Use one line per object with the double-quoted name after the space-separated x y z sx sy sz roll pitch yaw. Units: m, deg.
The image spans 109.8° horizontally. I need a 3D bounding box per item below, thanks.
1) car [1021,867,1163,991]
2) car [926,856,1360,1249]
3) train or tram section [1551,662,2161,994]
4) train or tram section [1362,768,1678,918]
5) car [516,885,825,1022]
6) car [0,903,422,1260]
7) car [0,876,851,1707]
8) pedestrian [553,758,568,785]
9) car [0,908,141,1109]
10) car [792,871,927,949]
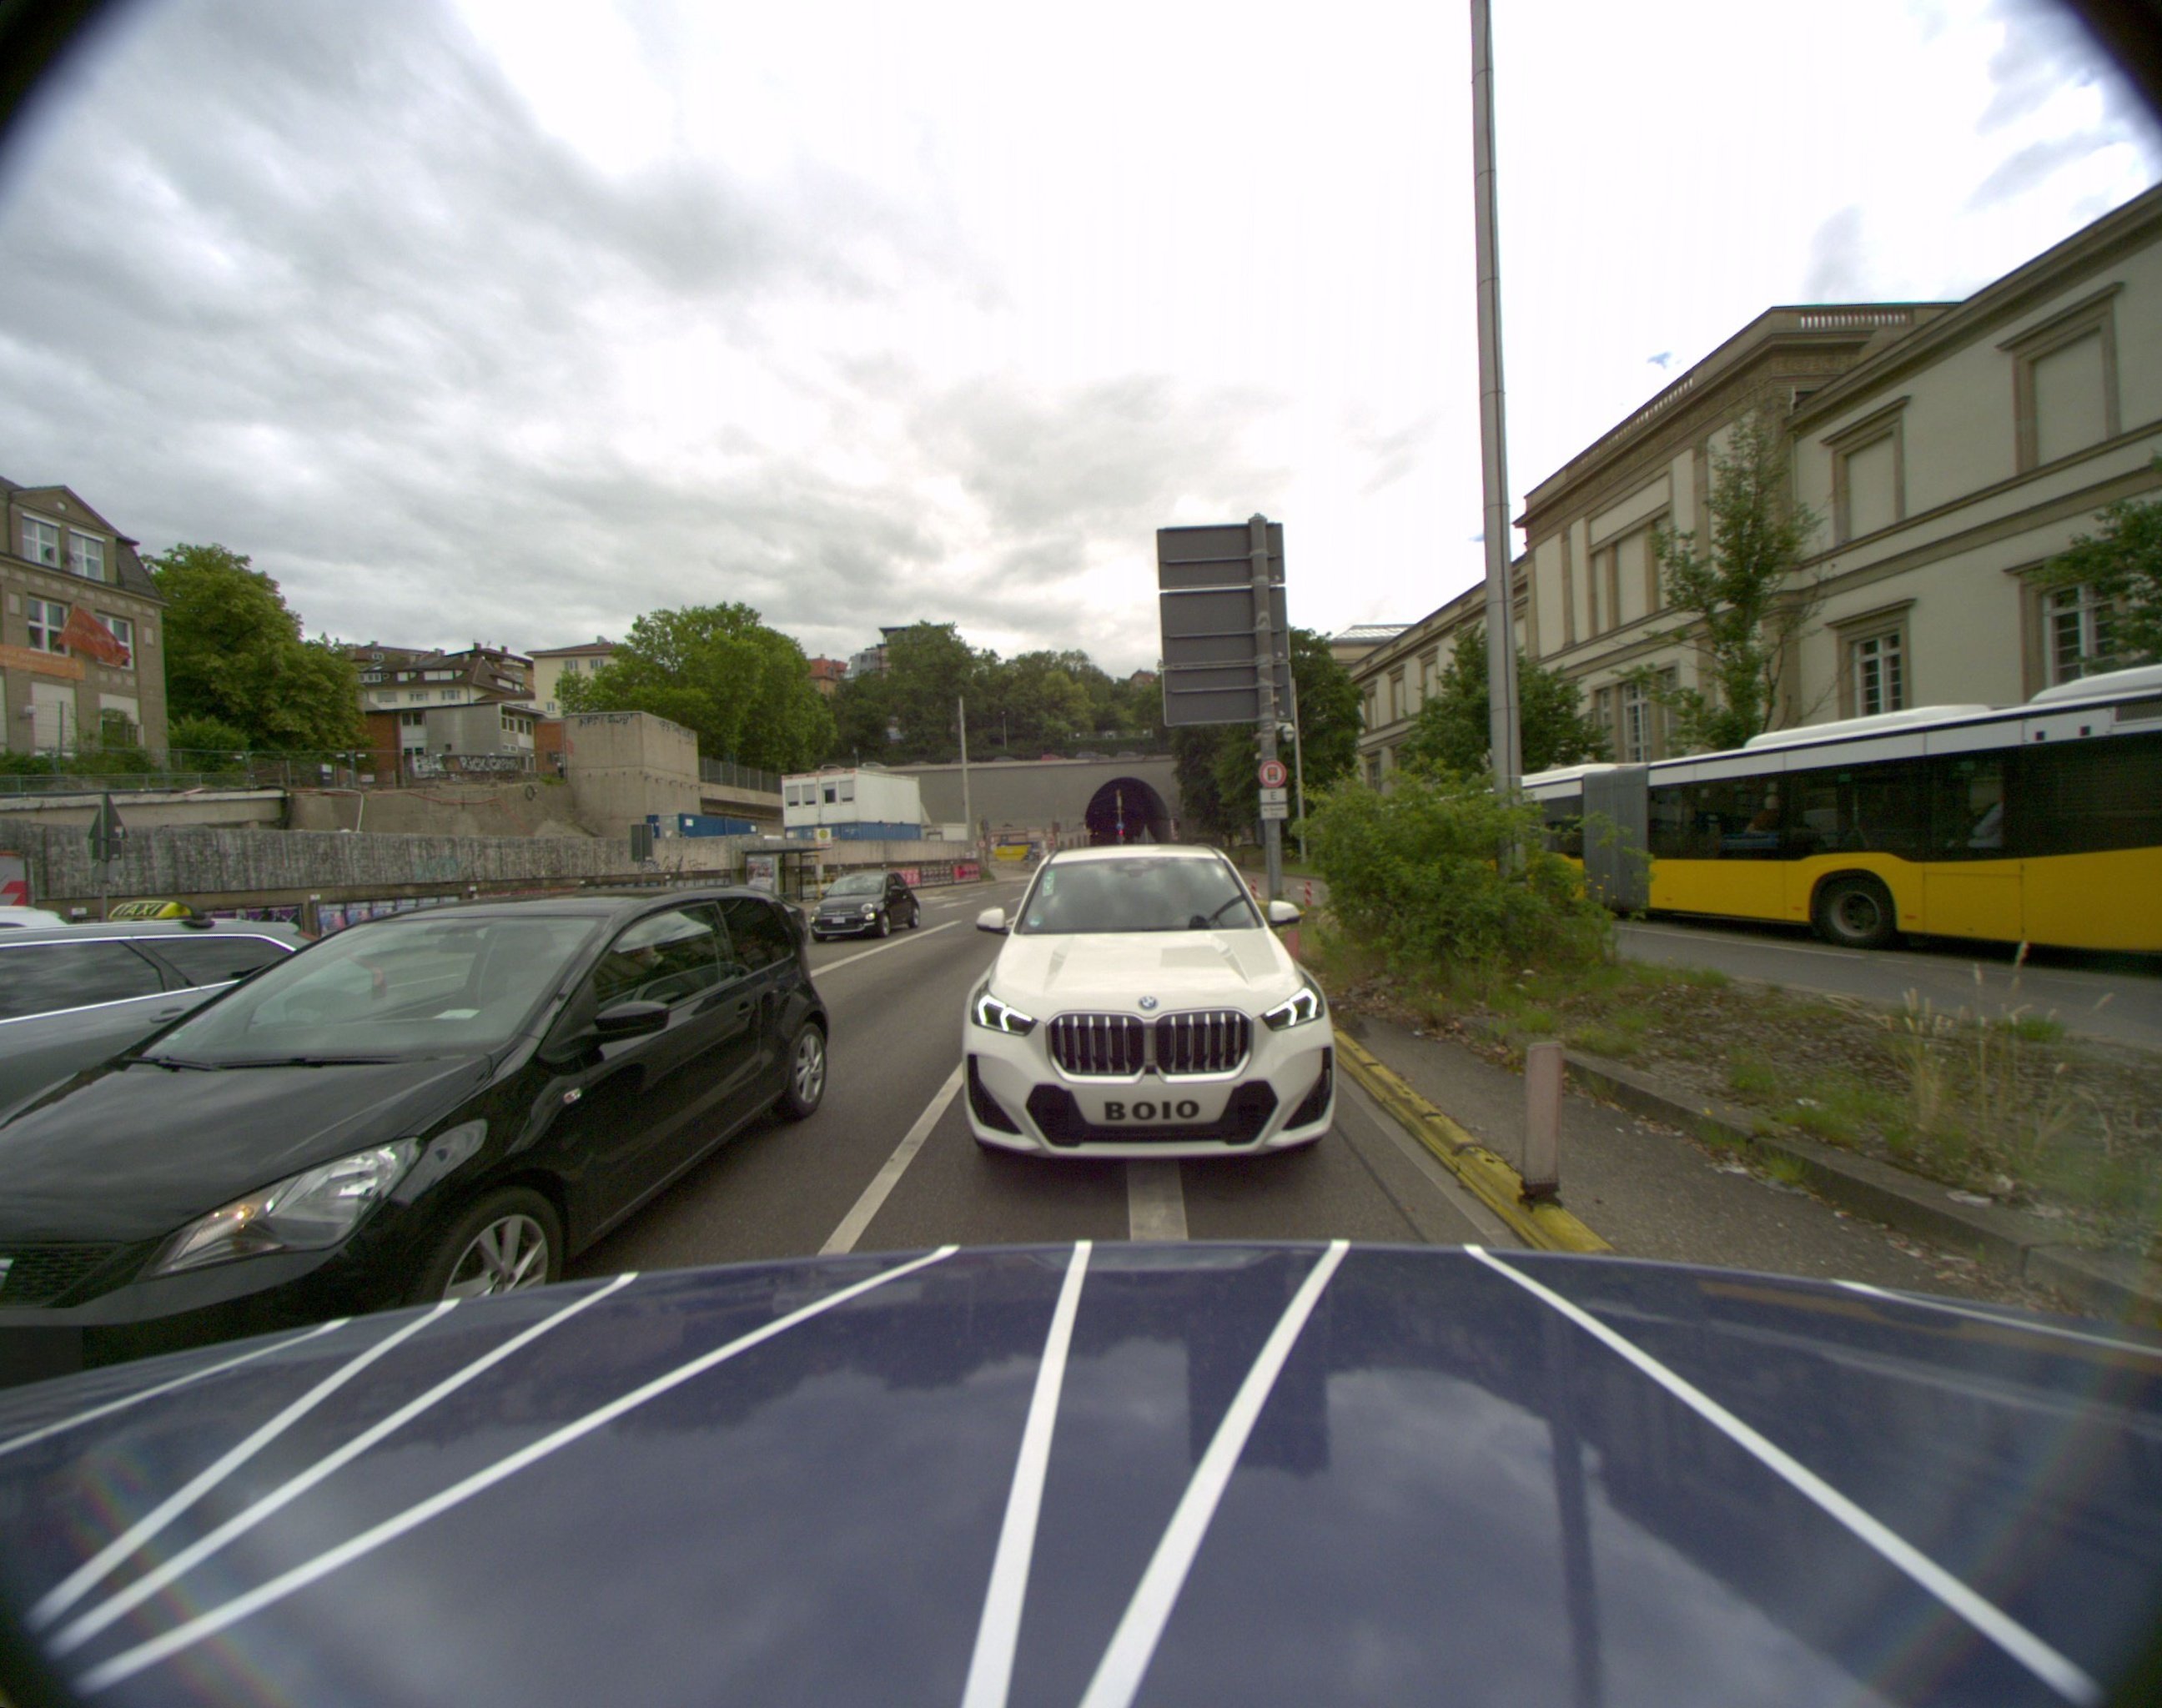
0.223 0.990 11.603 1.756 1.427 3.911 -2 0 3 "car"
0.340 0.848 5.127 1.756 1.547 3.911 -2 1 3 "car"
11.161 -0.258 10.992 2.701 3.053 9.334 -1 0 -2 "train or tram section"
10.787 -0.226 20.322 2.701 3.053 9.374 -1 0 -2 "train or tram section"
-5.398 1.226 10.765 1.826 1.356 4.219 -2 0 4 "car"
-5.823 1.143 3.459 1.826 1.457 4.217 -2 1 2 "car"
-2.528 0.978 3.280 1.661 1.547 3.911 -2 1 3 "car"
-36.663 -5.795 53.503 0.554 1.784 0.569 -2 1 1 "pedestrian"
-9.149 1.258 4.584 1.826 1.457 4.073 -2 1 0 "car"
-4.987 1.199 17.631 1.720 1.450 3.782 -3 0 4 "car"
